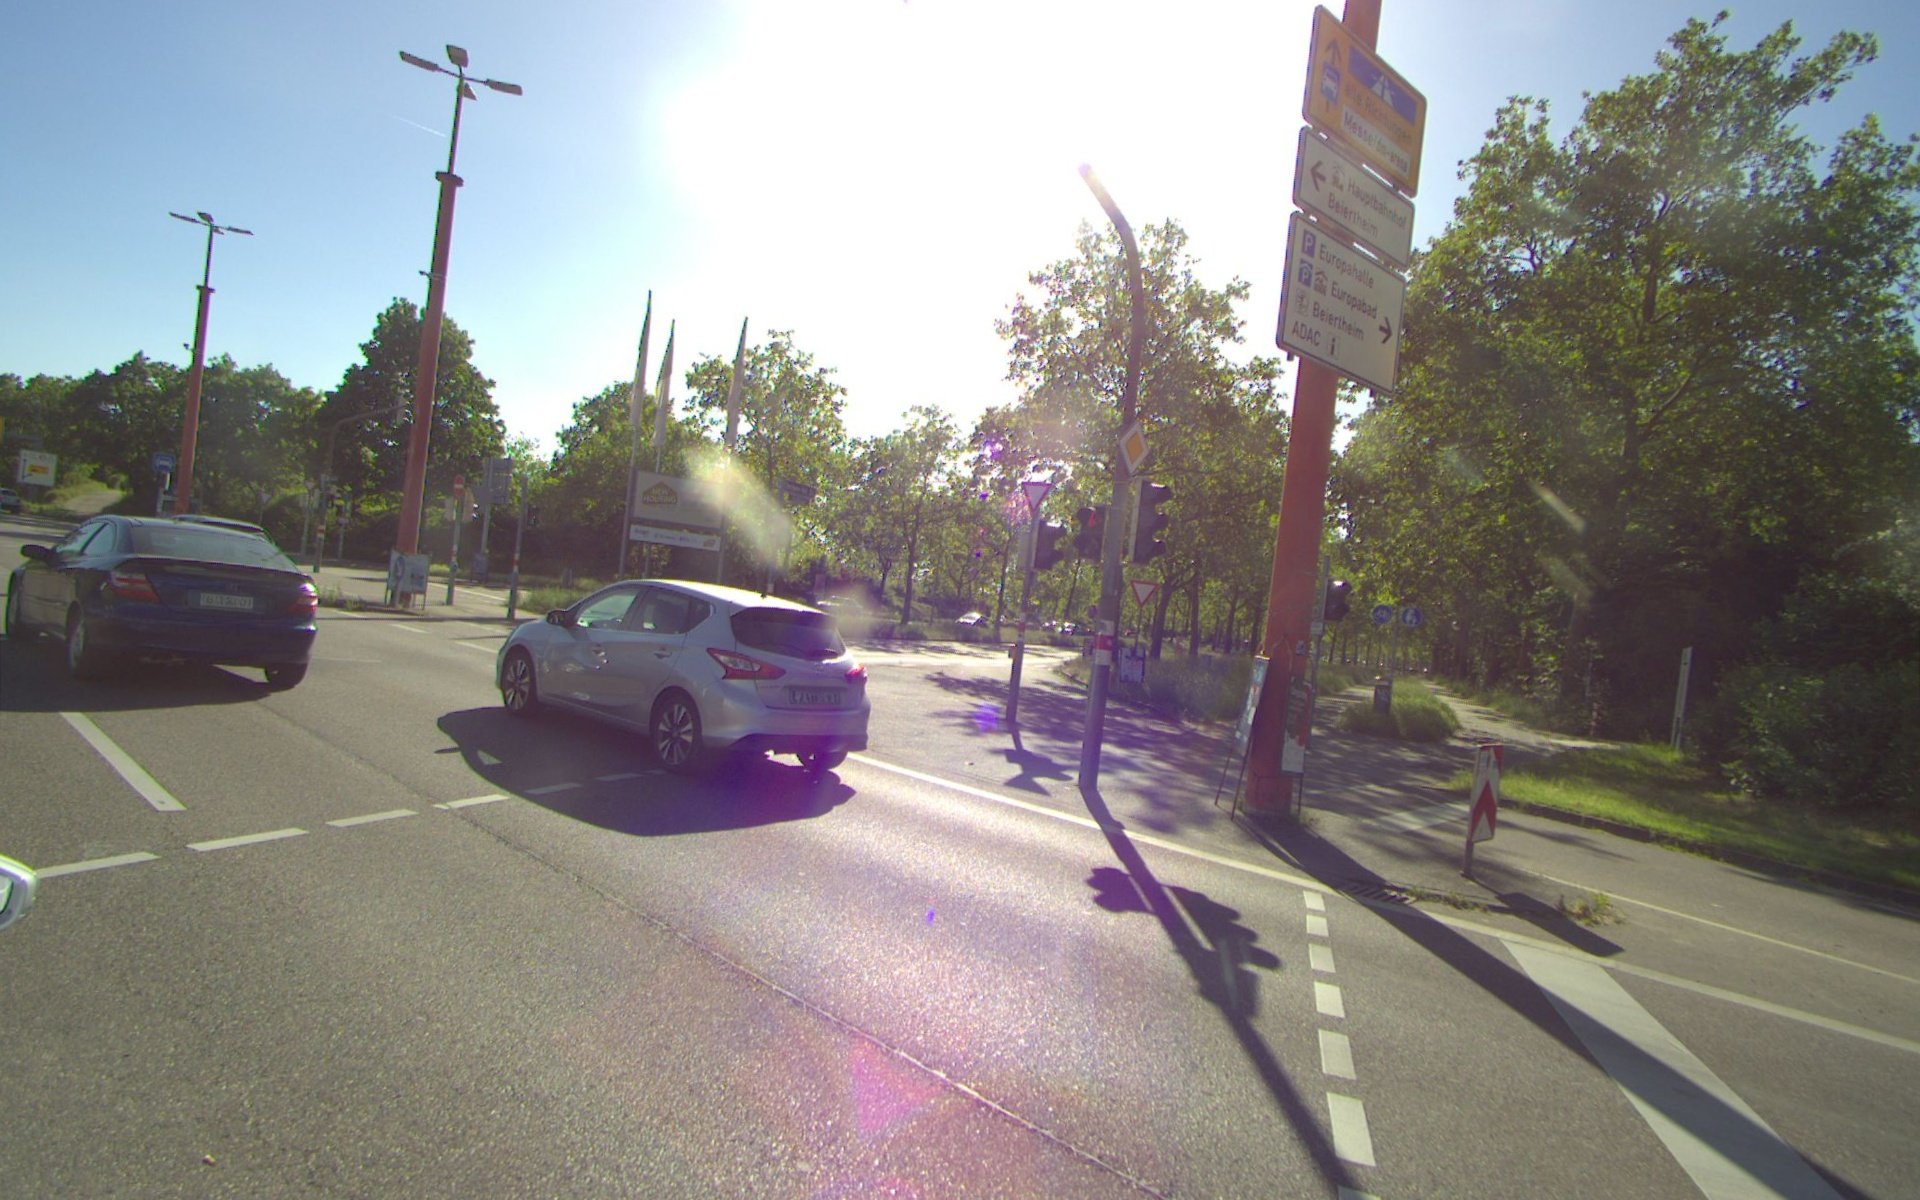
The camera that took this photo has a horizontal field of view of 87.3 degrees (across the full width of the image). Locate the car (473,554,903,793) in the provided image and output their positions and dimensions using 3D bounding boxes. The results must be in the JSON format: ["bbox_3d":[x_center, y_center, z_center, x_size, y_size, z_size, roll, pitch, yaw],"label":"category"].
[{"bbox_3d":[-2.678,0.579,9.405,4.078,1.535,1.721,7,-2,40],"label":"car"}]

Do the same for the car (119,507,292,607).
[{"bbox_3d":[-15.039,-0.890,19.971,4.166,1.525,1.767,6,-2,41],"label":"car"}]

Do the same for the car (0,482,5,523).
[{"bbox_3d":[-46.556,-4.774,47.303,5.030,1.875,1.802,7,0,41],"label":"car"}]

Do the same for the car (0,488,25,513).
[{"bbox_3d":[-65.654,-6.890,69.060,3.629,1.508,1.594,6,-2,40],"label":"car"}]

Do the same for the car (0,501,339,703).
[{"bbox_3d":[-7.758,-0.043,9.713,3.991,1.437,1.717,7,-1,40],"label":"car"}]

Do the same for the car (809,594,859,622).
[{"bbox_3d":[-9.004,0.602,72.112,1.831,1.534,4.142,7,-2,18],"label":"car"}]
